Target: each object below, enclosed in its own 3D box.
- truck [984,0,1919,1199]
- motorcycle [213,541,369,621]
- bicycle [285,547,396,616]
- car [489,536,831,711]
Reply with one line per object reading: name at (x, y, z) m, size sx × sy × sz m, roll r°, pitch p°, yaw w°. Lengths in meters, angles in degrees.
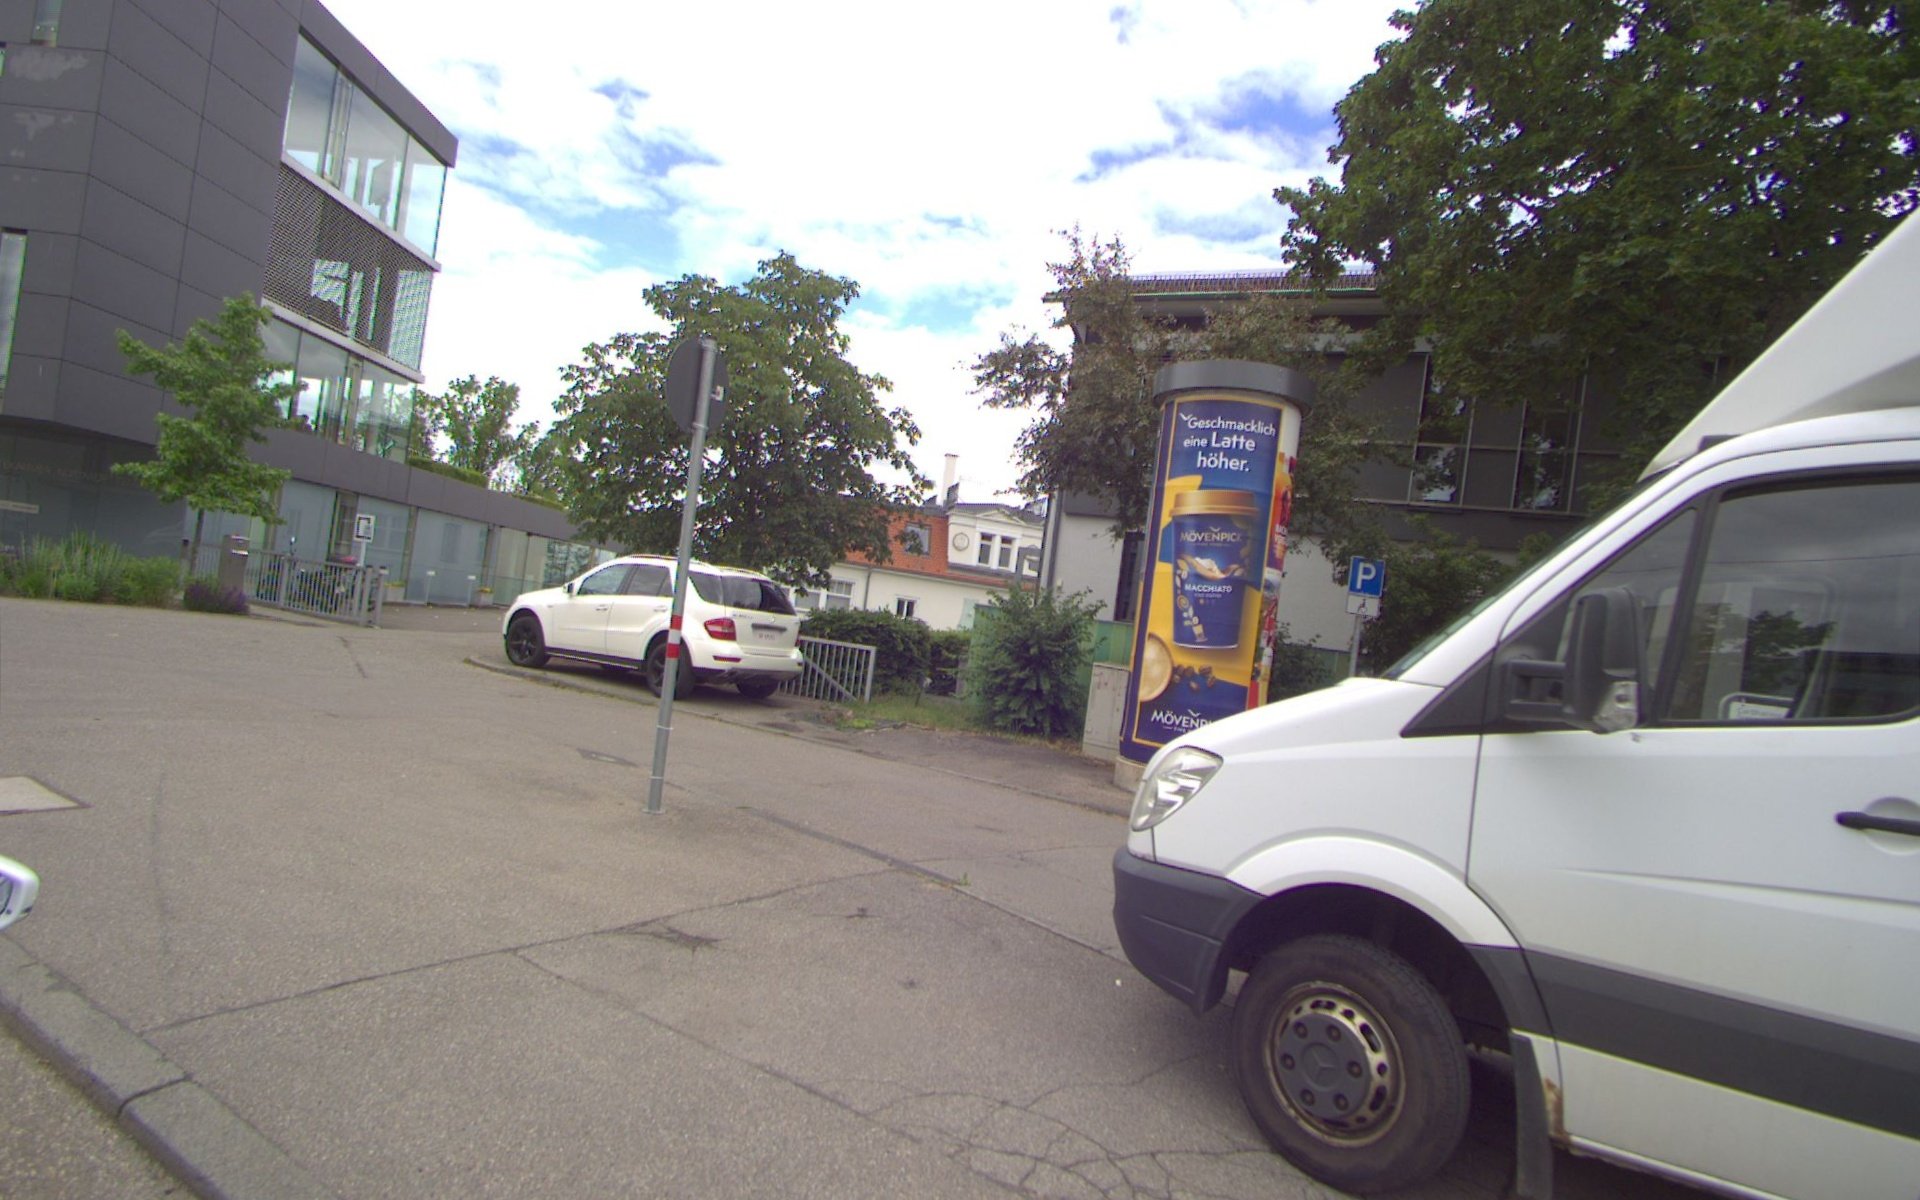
truck at (4.196, 0.288, 2.277) m, size 7.680 × 3.567 × 2.577 m, roll 7°, pitch -1°, yaw 32°
motorcycle at (-13.993, -0.379, 21.073) m, size 2.644 × 1.275 × 0.849 m, roll 8°, pitch -1°, yaw 4°
bicycle at (-14.148, -0.408, 22.981) m, size 2.063 × 1.275 × 0.616 m, roll 8°, pitch 0°, yaw 4°
car at (-4.272, 0.282, 14.173) m, size 4.441 × 1.860 × 1.996 m, roll 6°, pitch 0°, yaw 30°
